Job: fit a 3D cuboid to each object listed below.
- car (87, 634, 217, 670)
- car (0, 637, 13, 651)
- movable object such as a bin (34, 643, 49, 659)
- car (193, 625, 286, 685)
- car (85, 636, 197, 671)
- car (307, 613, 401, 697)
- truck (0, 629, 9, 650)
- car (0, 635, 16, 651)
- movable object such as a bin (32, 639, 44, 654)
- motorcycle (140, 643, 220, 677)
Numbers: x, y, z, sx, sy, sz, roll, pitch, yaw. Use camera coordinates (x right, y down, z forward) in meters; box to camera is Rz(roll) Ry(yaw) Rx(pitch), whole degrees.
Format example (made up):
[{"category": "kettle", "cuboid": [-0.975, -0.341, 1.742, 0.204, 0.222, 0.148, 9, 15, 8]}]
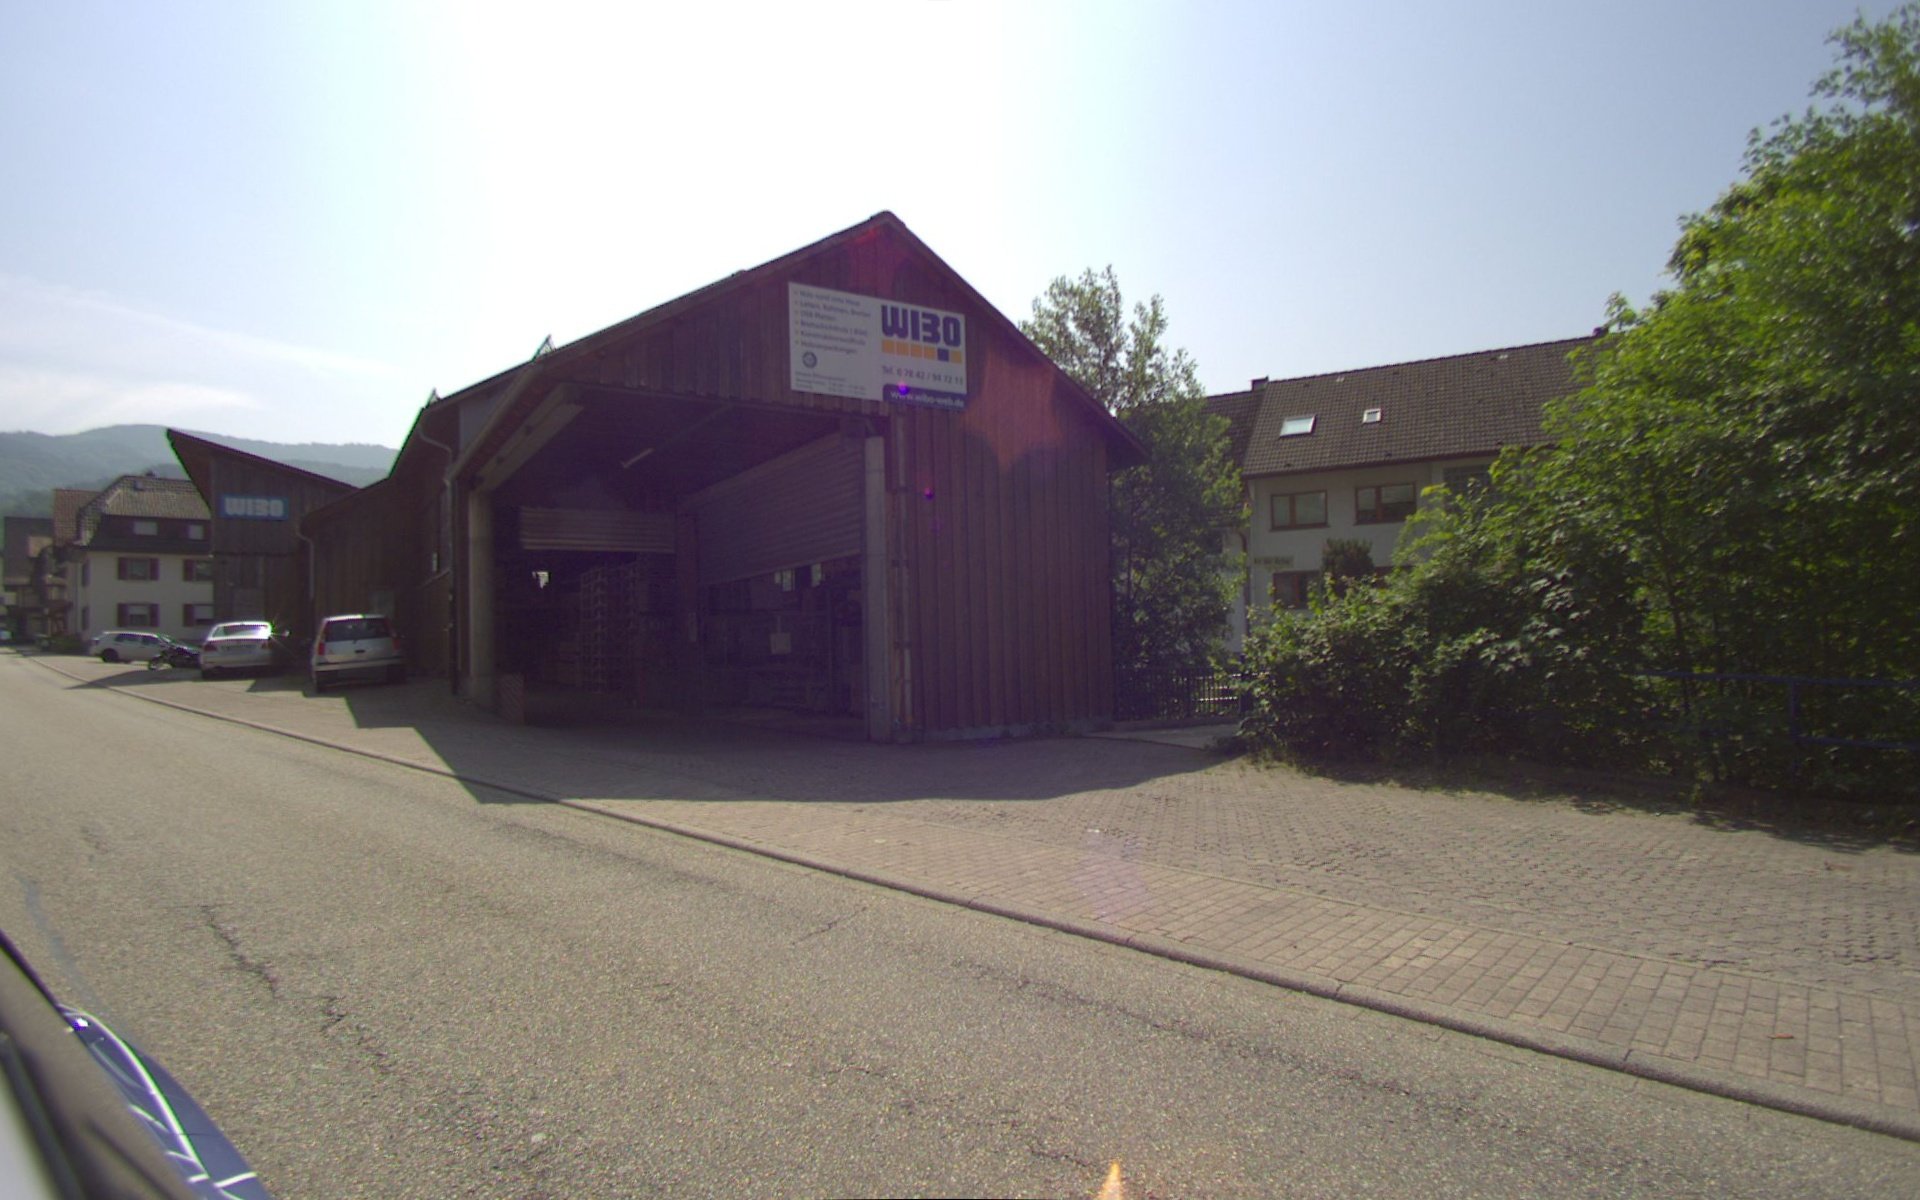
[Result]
[{"category": "car", "cuboid": [-38.503, 2.510, 48.334, 4.367, 1.486, 1.930, 4, -4, -19]}, {"category": "car", "cuboid": [-105.110, 4.725, 109.329, 1.754, 1.514, 4.049, -2, -3, 43]}, {"category": "movable object such as a bin", "cuboid": [-61.432, 3.421, 67.687, 0.621, 1.075, 0.668, -2, -3, 44]}, {"category": "car", "cuboid": [-19.869, 1.510, 28.077, 1.705, 1.465, 4.818, 0, -3, -31]}, {"category": "car", "cuboid": [-37.190, 2.430, 46.080, 3.608, 1.396, 1.716, 5, -5, -29]}, {"category": "car", "cuboid": [-13.305, 1.155, 22.127, 1.559, 1.582, 4.034, -3, 0, -33]}, {"category": "truck", "cuboid": [-108.831, 4.434, 112.649, 1.998, 2.283, 4.124, -2, -1, 40]}, {"category": "car", "cuboid": [-99.071, 4.473, 104.743, 4.285, 1.565, 1.750, -2, -1, 43]}, {"category": "movable object such as a bin", "cuboid": [-74.976, 3.811, 82.303, 0.709, 1.190, 0.598, 4, -4, -44]}, {"category": "motorcycle", "cuboid": [-29.721, 2.276, 38.613, 2.376, 1.274, 0.745, 1, -3, -35]}]
